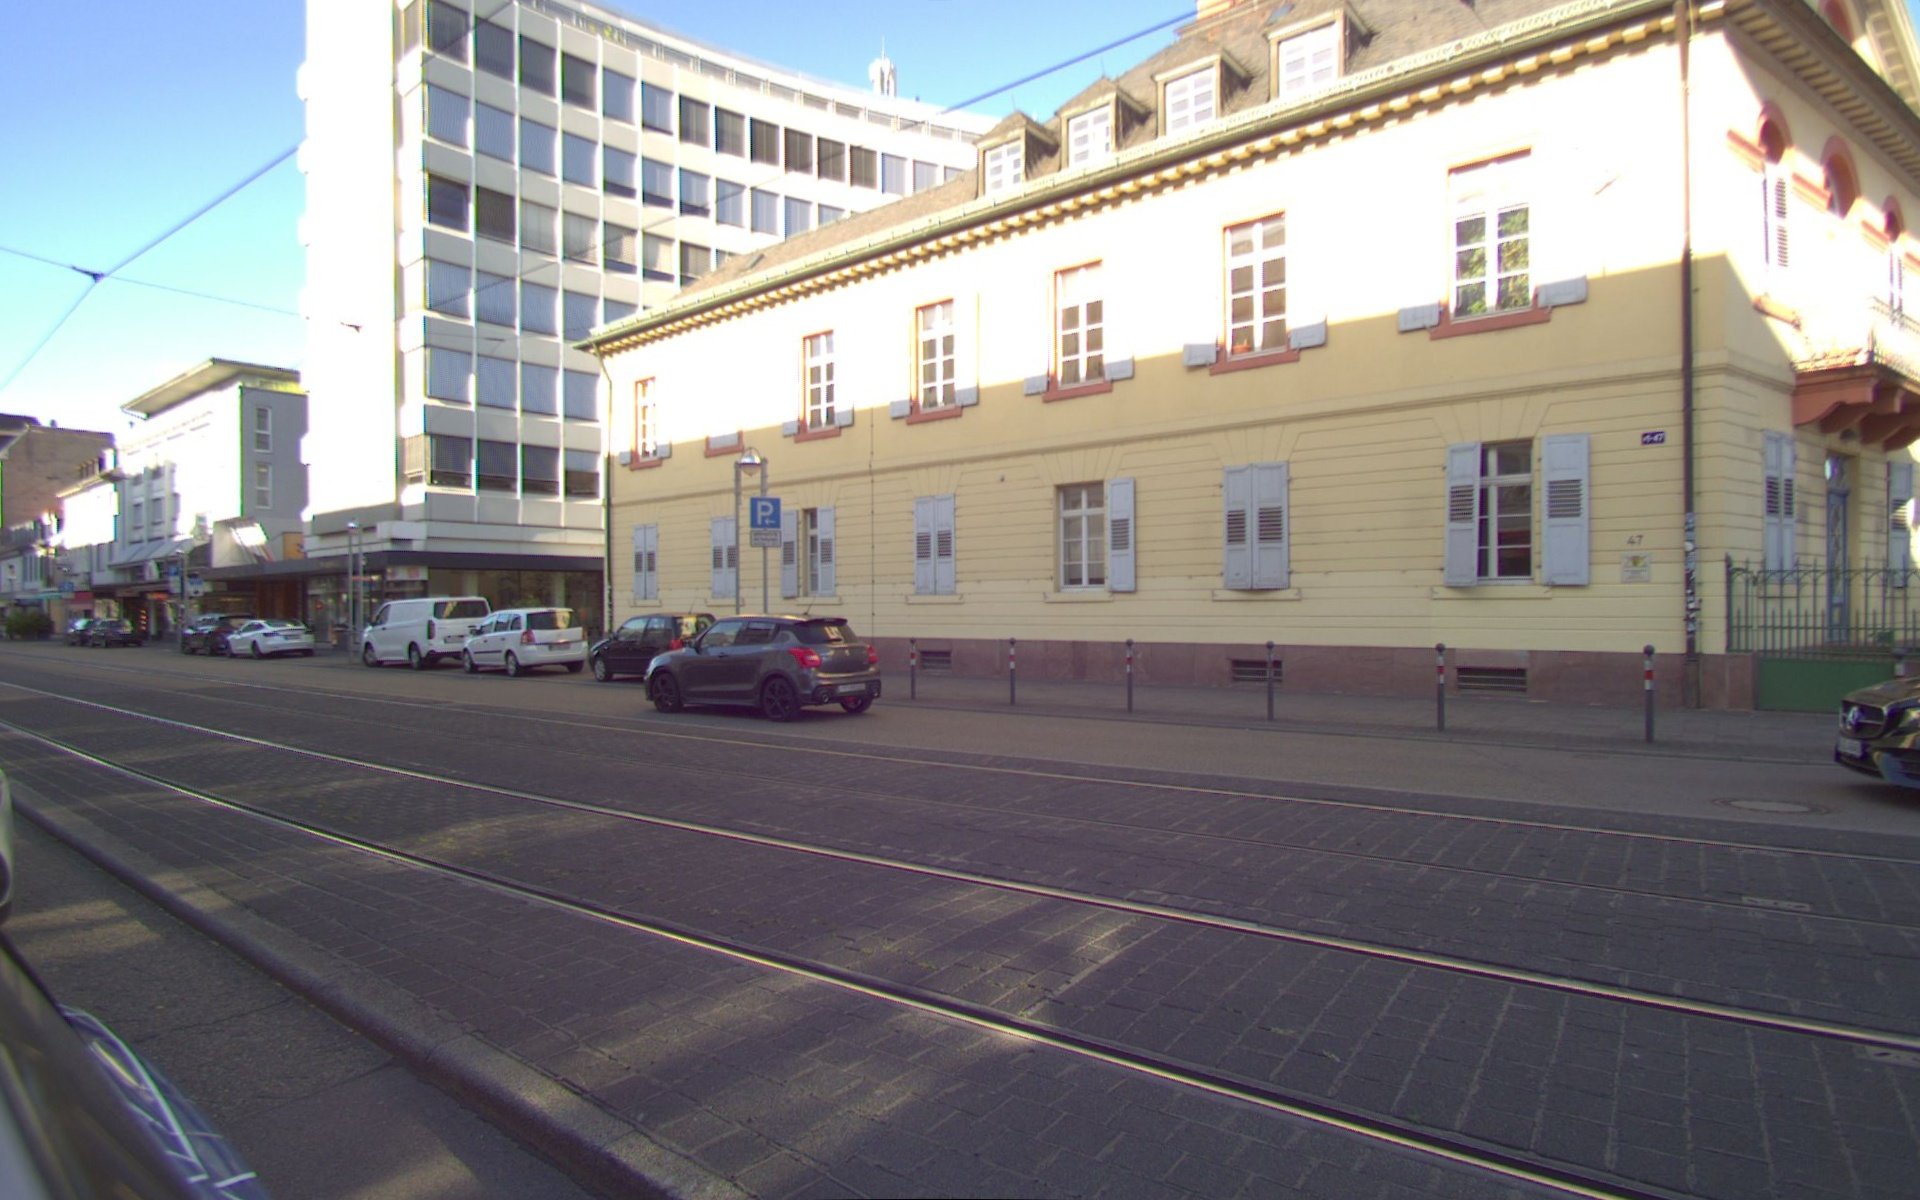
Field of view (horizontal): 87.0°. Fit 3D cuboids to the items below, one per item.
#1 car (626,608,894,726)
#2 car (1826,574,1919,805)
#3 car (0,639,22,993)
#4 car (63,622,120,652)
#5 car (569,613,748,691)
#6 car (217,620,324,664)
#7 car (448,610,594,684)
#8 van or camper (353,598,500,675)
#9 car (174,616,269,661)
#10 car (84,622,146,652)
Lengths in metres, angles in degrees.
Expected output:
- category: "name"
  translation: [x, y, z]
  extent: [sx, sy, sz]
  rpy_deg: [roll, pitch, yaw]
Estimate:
- category: "car"
  translation: [-3.003, 0.913, 14.937]
  extent: [3.853, 1.521, 1.761]
  rpy_deg: [-1, -2, 36]
- category: "car"
  translation: [8.762, 0.579, 6.391]
  extent: [4.646, 1.521, 1.766]
  rpy_deg: [-1, -2, 27]
- category: "car"
  translation: [-6.339, 0.901, 5.050]
  extent: [4.771, 1.450, 1.845]
  rpy_deg: [-1, -2, 40]
- category: "car"
  translation: [-47.879, 2.005, 55.755]
  extent: [3.830, 1.531, 1.764]
  rpy_deg: [-1, 0, 40]
- category: "car"
  translation: [-6.504, 1.043, 21.647]
  extent: [3.958, 1.450, 1.759]
  rpy_deg: [-1, 1, 40]
- category: "car"
  translation: [-25.583, 1.521, 37.522]
  extent: [4.285, 1.463, 1.909]
  rpy_deg: [-1, 1, 36]
- category: "car"
  translation: [-11.049, 1.109, 25.371]
  extent: [4.175, 1.632, 1.758]
  rpy_deg: [-1, 1, 42]
- category: "van or camper"
  translation: [-15.344, 0.990, 29.000]
  extent: [4.792, 1.988, 1.936]
  rpy_deg: [-1, 1, 39]
- category: "car"
  translation: [-29.846, 1.517, 40.872]
  extent: [4.275, 1.654, 1.908]
  rpy_deg: [-1, 1, 37]
- category: "car"
  translation: [-43.658, 1.883, 52.252]
  extent: [3.593, 1.427, 1.764]
  rpy_deg: [-1, 0, 38]
